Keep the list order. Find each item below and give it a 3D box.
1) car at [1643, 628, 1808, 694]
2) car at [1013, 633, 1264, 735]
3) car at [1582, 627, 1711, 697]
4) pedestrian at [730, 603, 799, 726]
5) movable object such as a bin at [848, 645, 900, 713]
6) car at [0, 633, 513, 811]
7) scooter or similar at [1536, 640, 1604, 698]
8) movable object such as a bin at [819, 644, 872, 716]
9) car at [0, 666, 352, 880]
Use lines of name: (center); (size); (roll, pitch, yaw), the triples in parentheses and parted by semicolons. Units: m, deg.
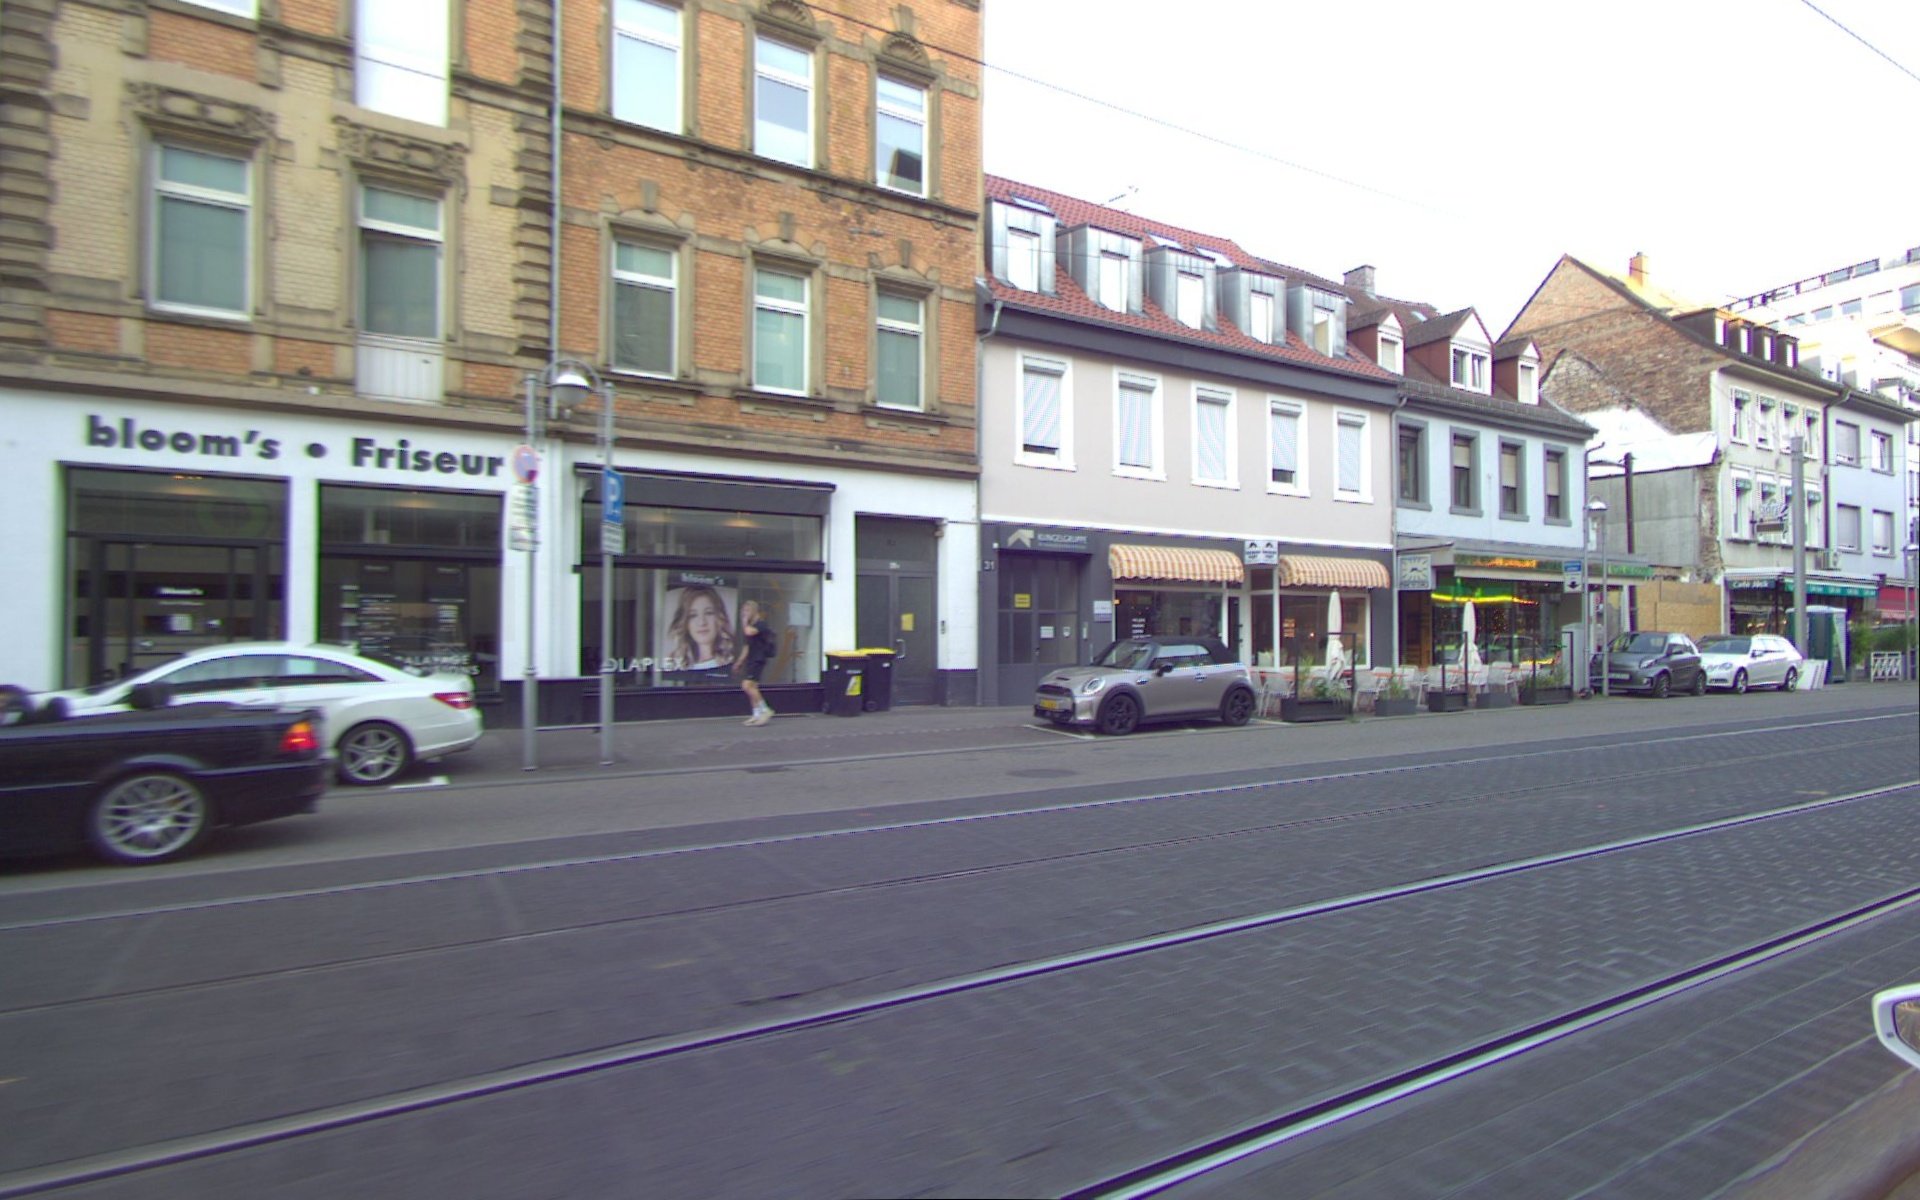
car: (20.362, 1.559, 26.673); (4.786, 1.524, 1.840); (1, 1, -31)
car: (2.926, 1.275, 16.309); (3.819, 1.408, 1.725); (1, 1, -30)
car: (16.591, 1.446, 24.271); (2.781, 1.524, 1.583); (1, 1, -32)
pedestrian: (-2.960, 0.952, 15.184); (0.845, 1.796, 0.645); (1, 0, -30)
movable object such as a bin: (-1.488, 1.355, 17.419); (0.720, 1.146, 0.587); (1, -2, -30)
car: (-6.985, 1.092, 10.250); (4.227, 1.408, 1.749); (1, 1, -33)
scooter or similar: (13.774, 1.546, 22.714); (0.290, 1.221, 1.308); (1, 1, -29)
movable object such as a bin: (-1.902, 1.316, 16.673); (0.720, 1.146, 0.587); (1, -2, -30)
car: (-6.450, 1.094, 6.539); (4.225, 1.244, 1.659); (1, -4, -31)
